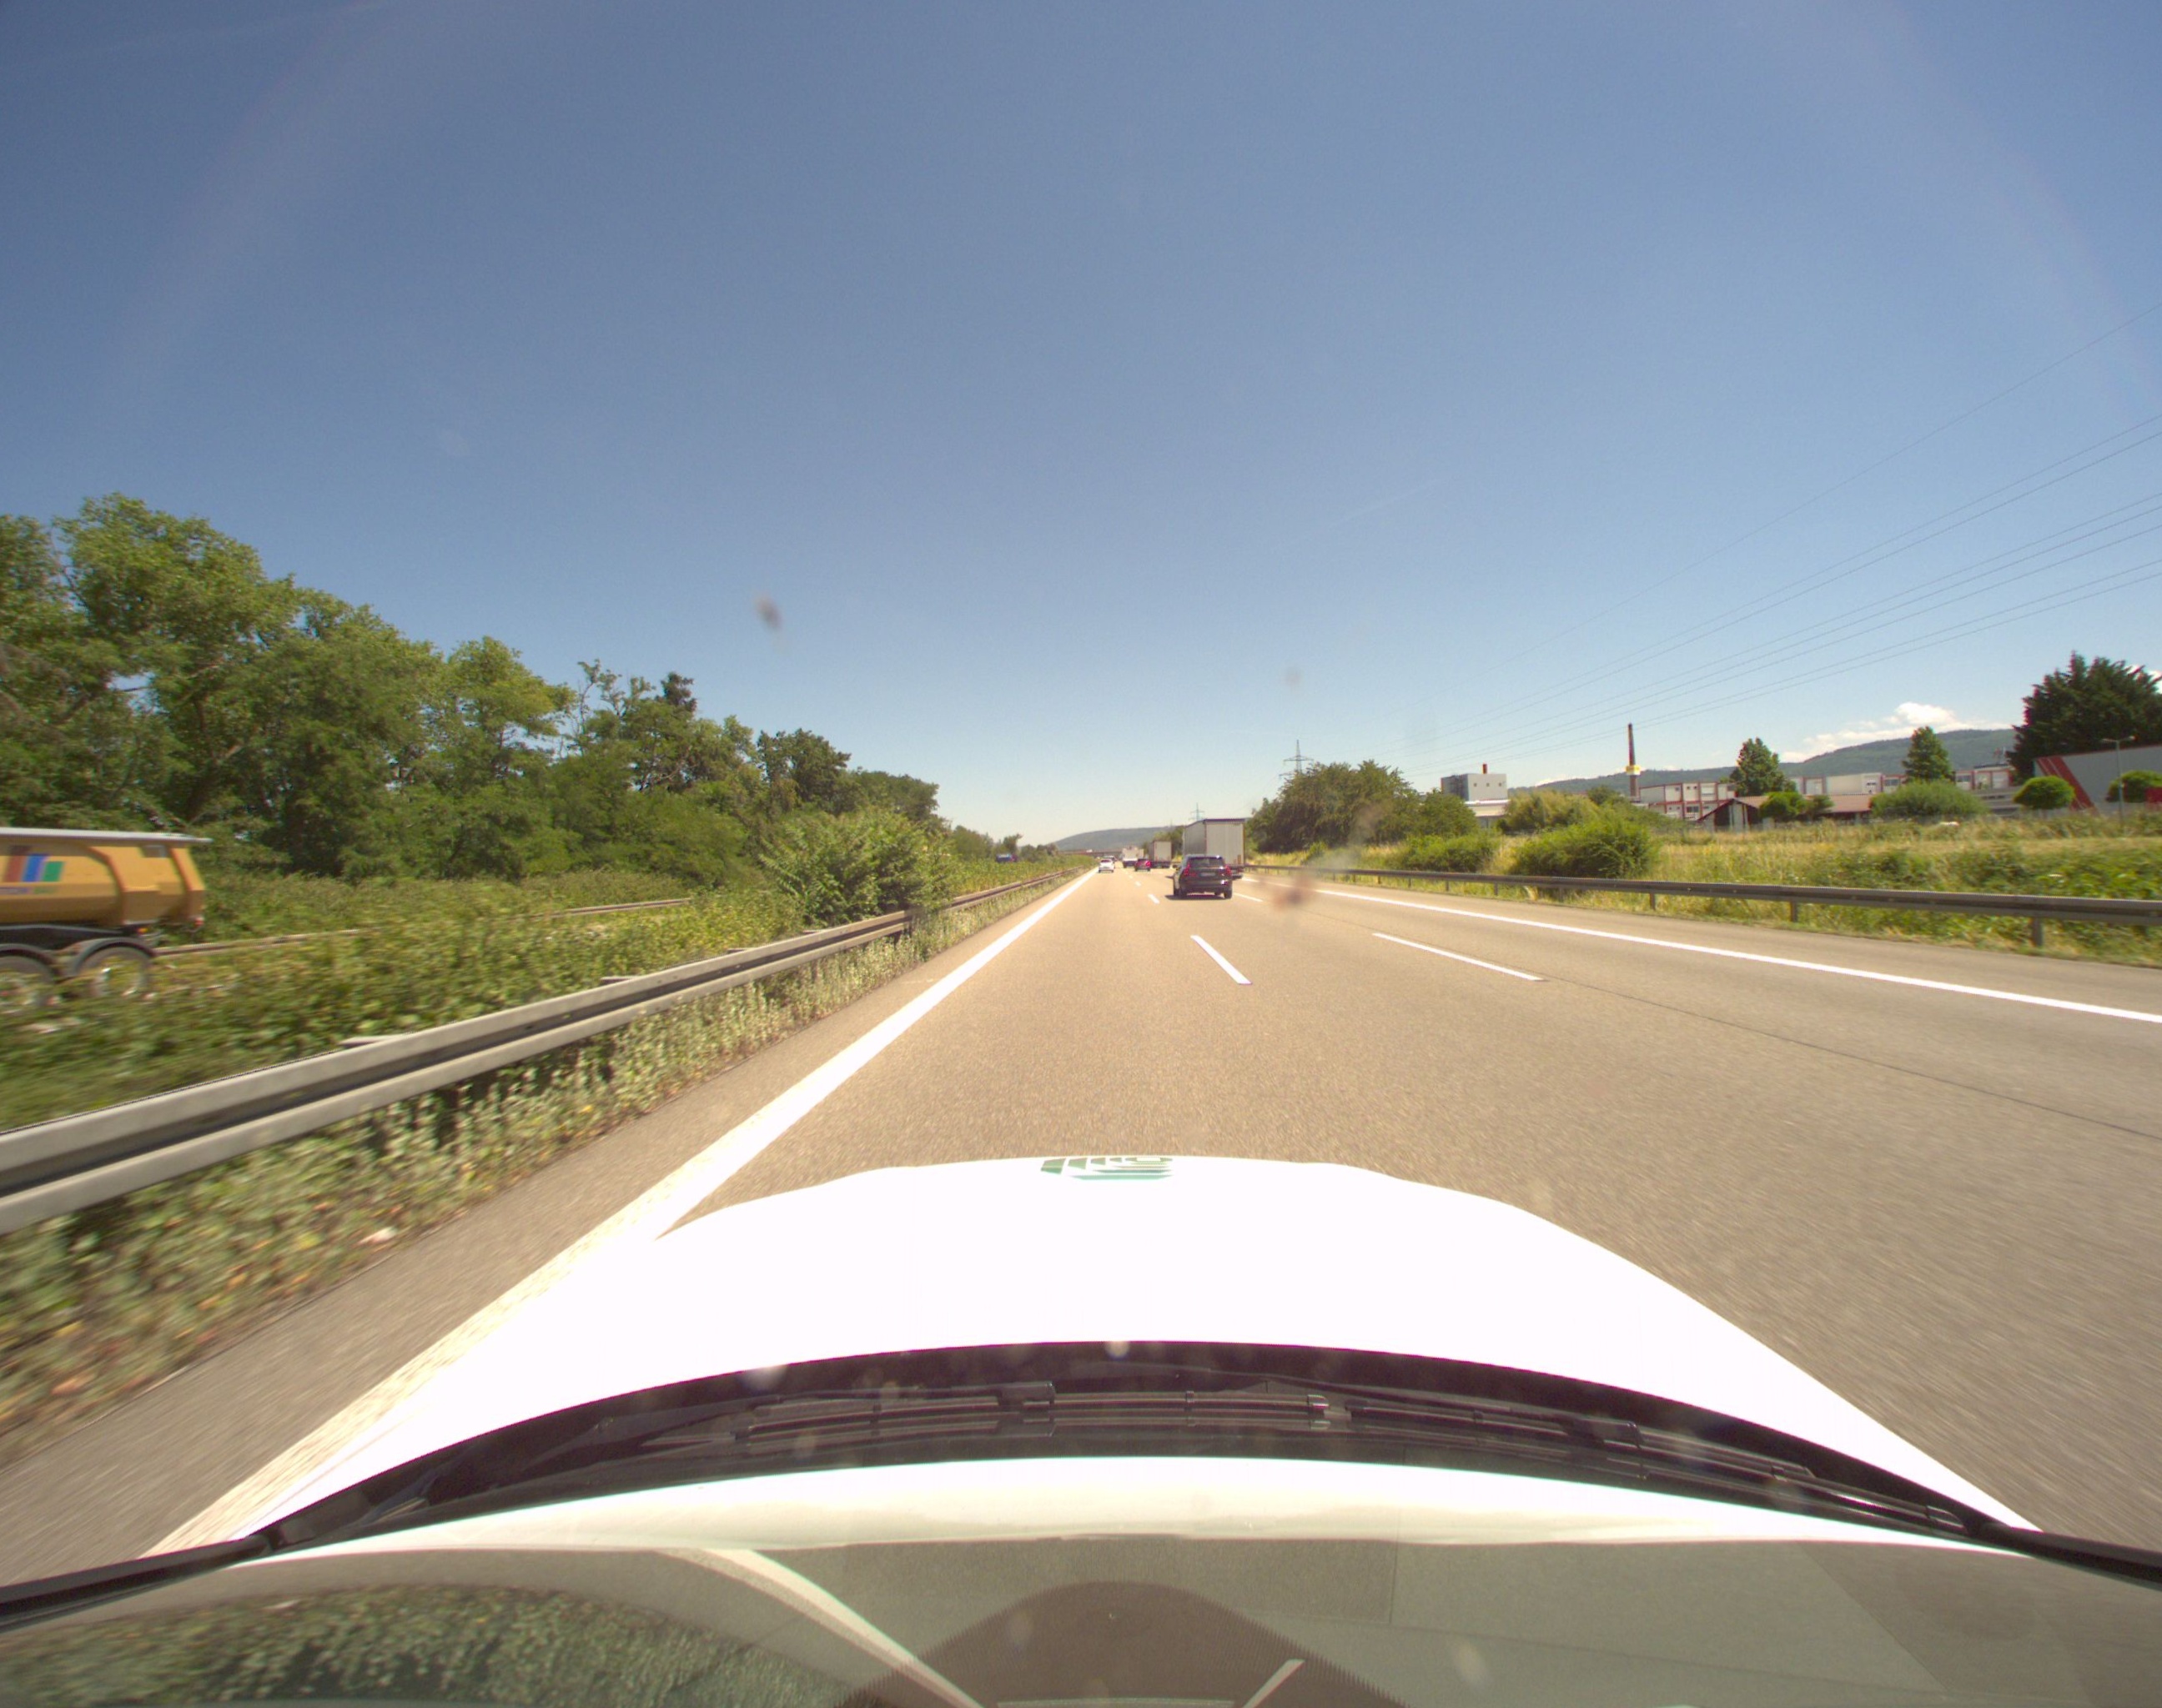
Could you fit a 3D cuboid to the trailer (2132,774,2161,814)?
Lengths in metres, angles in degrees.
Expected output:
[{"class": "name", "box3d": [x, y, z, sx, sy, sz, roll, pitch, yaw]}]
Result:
[{"class": "trailer", "box3d": [70.248, -3.926, 49.763, 7.874, 2.381, 2.982, -3, 0, 2]}]

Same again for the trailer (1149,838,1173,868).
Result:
[{"class": "trailer", "box3d": [11.949, -0.155, 122.476, 2.778, 4.164, 13.582, -2, -1, 3]}]

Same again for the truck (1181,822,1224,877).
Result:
[{"class": "truck", "box3d": [9.670, -0.332, 65.300, 2.725, 4.120, 6.127, -1, 0, 2]}]

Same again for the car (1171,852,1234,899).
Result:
[{"class": "car", "box3d": [4.490, 0.772, 30.658, 1.867, 1.623, 4.005, -1, 0, 2]}]

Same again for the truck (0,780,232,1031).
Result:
[{"class": "truck", "box3d": [-17.037, 0.804, 8.951, 2.529, 3.634, 11.849, -4, 0, 2]}]

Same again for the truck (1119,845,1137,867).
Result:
[{"class": "truck", "box3d": [7.513, 0.303, 131.197, 2.772, 3.373, 8.131, -1, -1, 2]}]

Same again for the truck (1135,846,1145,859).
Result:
[{"class": "truck", "box3d": [15.203, -0.349, 209.598, 2.213, 3.209, 10.389, -2, 0, 2]}]

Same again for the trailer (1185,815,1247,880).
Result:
[{"class": "trailer", "box3d": [9.427, -0.374, 58.409, 2.725, 4.106, 13.128, -1, 0, 2]}]

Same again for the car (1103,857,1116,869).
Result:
[{"class": "car", "box3d": [4.287, 1.349, 122.661, 1.754, 1.850, 4.001, -2, 0, 1]}]

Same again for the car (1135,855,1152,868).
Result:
[{"class": "car", "box3d": [7.358, 0.874, 96.087, 1.796, 1.545, 4.002, -1, 0, 2]}]

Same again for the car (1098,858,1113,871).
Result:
[{"class": "car", "box3d": [2.724, 1.153, 90.895, 1.601, 1.468, 4.001, -2, 0, 1]}]

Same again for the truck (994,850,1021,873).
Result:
[{"class": "truck", "box3d": [-12.061, 1.215, 134.871, 2.777, 3.432, 11.986, -4, 0, 2]}]
